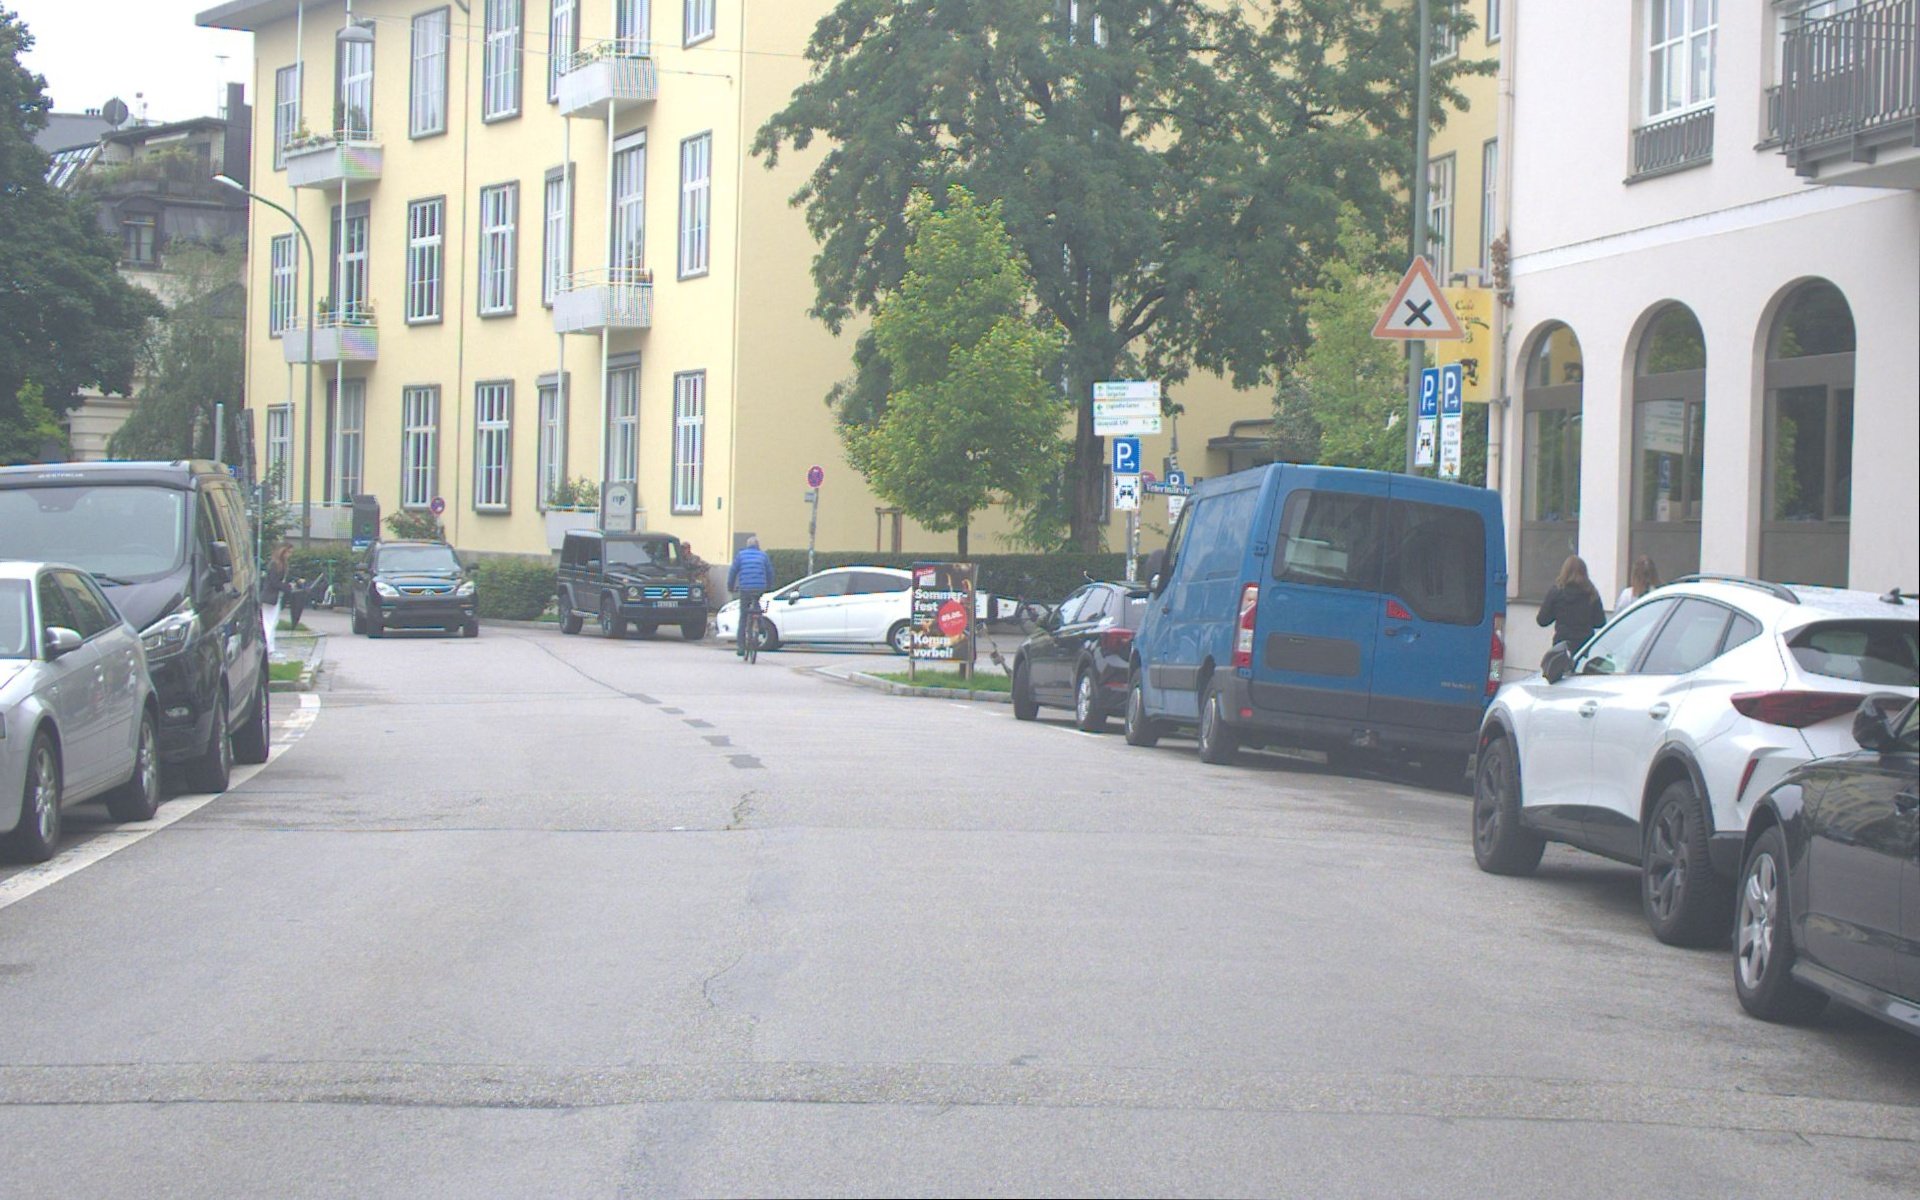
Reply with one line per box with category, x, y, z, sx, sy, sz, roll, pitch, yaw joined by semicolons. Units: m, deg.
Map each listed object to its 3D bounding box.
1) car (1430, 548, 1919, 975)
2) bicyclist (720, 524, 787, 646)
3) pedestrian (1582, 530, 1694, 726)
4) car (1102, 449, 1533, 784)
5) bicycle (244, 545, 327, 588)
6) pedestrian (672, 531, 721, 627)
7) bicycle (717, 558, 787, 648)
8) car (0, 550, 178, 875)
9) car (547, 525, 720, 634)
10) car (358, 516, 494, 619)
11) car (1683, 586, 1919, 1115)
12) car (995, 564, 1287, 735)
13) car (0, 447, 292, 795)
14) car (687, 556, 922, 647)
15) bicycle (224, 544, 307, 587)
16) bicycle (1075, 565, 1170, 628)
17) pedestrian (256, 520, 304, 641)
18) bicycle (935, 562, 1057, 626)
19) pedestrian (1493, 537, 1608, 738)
car;3.614;0.647;15.611;1.775;1.517;4.305;5;1;-7
bicyclist;-3.044;-0.233;50.719;0.914;1.758;1.215;1;1;-2
pedestrian;5.612;0.222;28.482;0.711;1.599;0.700;0;1;-9
car;2.686;0.149;27.247;2.109;2.206;5.029;6;-1;-7
bicycle;-16.407;-0.810;83.618;0.618;1.025;1.973;2;1;44
pedestrian;-4.908;-0.400;63.986;0.848;1.751;0.954;1;1;-7
bicycle;-3.057;0.032;50.711;0.921;1.248;2.322;1;1;-1
car;-5.124;0.506;17.049;1.706;1.361;4.002;-3;2;-3
car;-6.111;-0.405;63.798;1.873;1.881;4.620;1;2;-23
car;-9.593;-0.617;61.519;1.993;1.713;4.617;1;1;-14
car;3.604;0.795;10.122;1.772;1.424;4.694;6;1;-1
car;1.680;0.433;33.316;1.714;1.390;4.001;5;0;-13
car;-5.489;0.064;22.107;1.925;1.972;4.624;-2;2;-6
car;-2.586;0.010;57.647;3.715;1.401;1.753;1;1;5
bicycle;-17.000;-0.847;84.207;0.618;1.025;1.973;2;1;44
bicycle;3.004;-0.070;63.624;1.681;1.126;0.460;1;1;-10
pedestrian;-9.609;-0.288;48.591;0.542;1.691;0.667;-1;1;-21
bicycle;0.669;-0.114;63.747;2.168;1.112;0.640;1;1;7
pedestrian;4.861;0.302;28.342;0.678;1.623;0.830;0;0;-11
